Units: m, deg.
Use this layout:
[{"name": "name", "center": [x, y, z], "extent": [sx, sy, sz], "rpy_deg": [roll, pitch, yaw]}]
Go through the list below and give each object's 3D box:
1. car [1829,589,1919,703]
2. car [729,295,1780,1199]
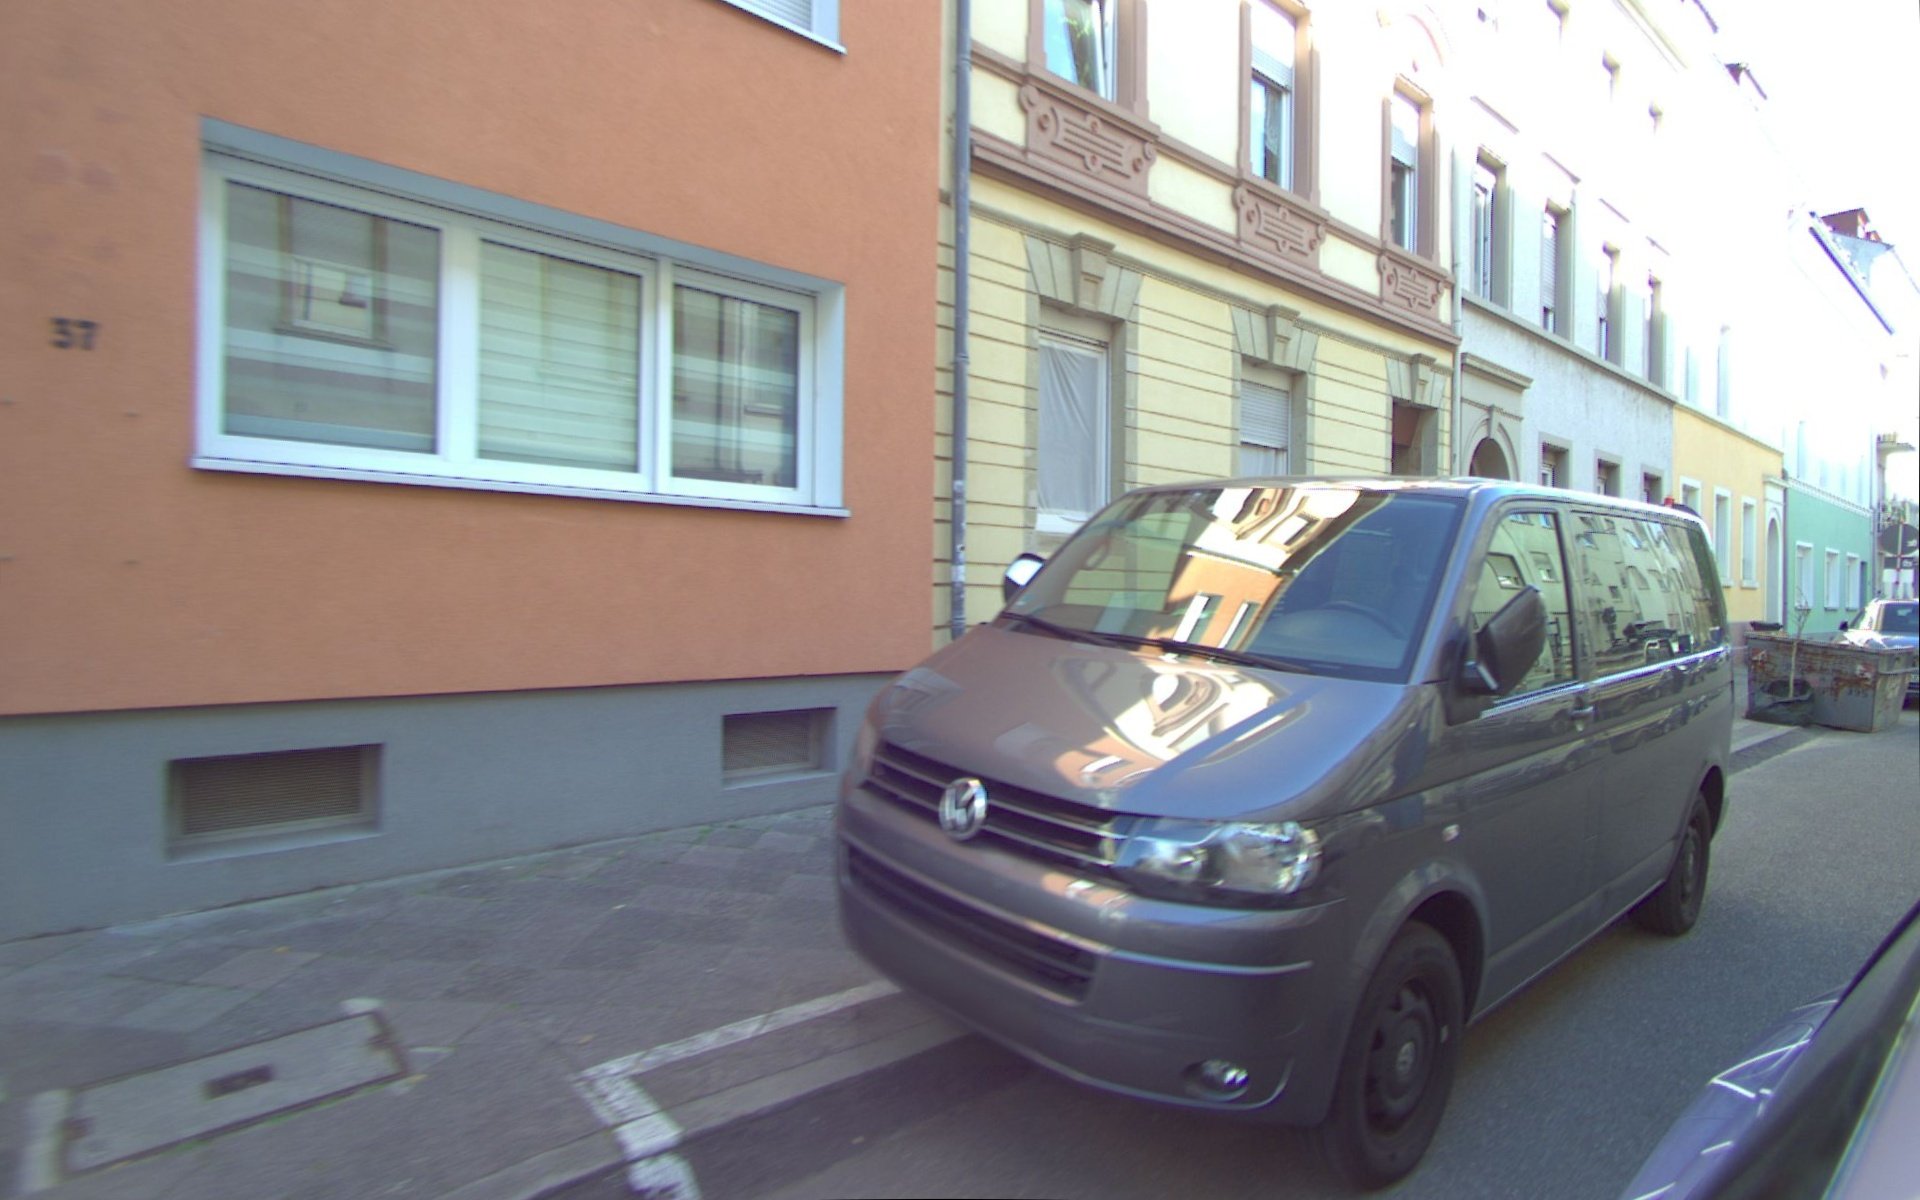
[{"name": "car", "center": [14.873, 0.636, 15.523], "extent": [3.980, 1.562, 1.744], "rpy_deg": [-1, 1, -40]}, {"name": "car", "center": [1.669, 0.455, 4.256], "extent": [4.814, 2.055, 1.972], "rpy_deg": [0, -1, -41]}]
